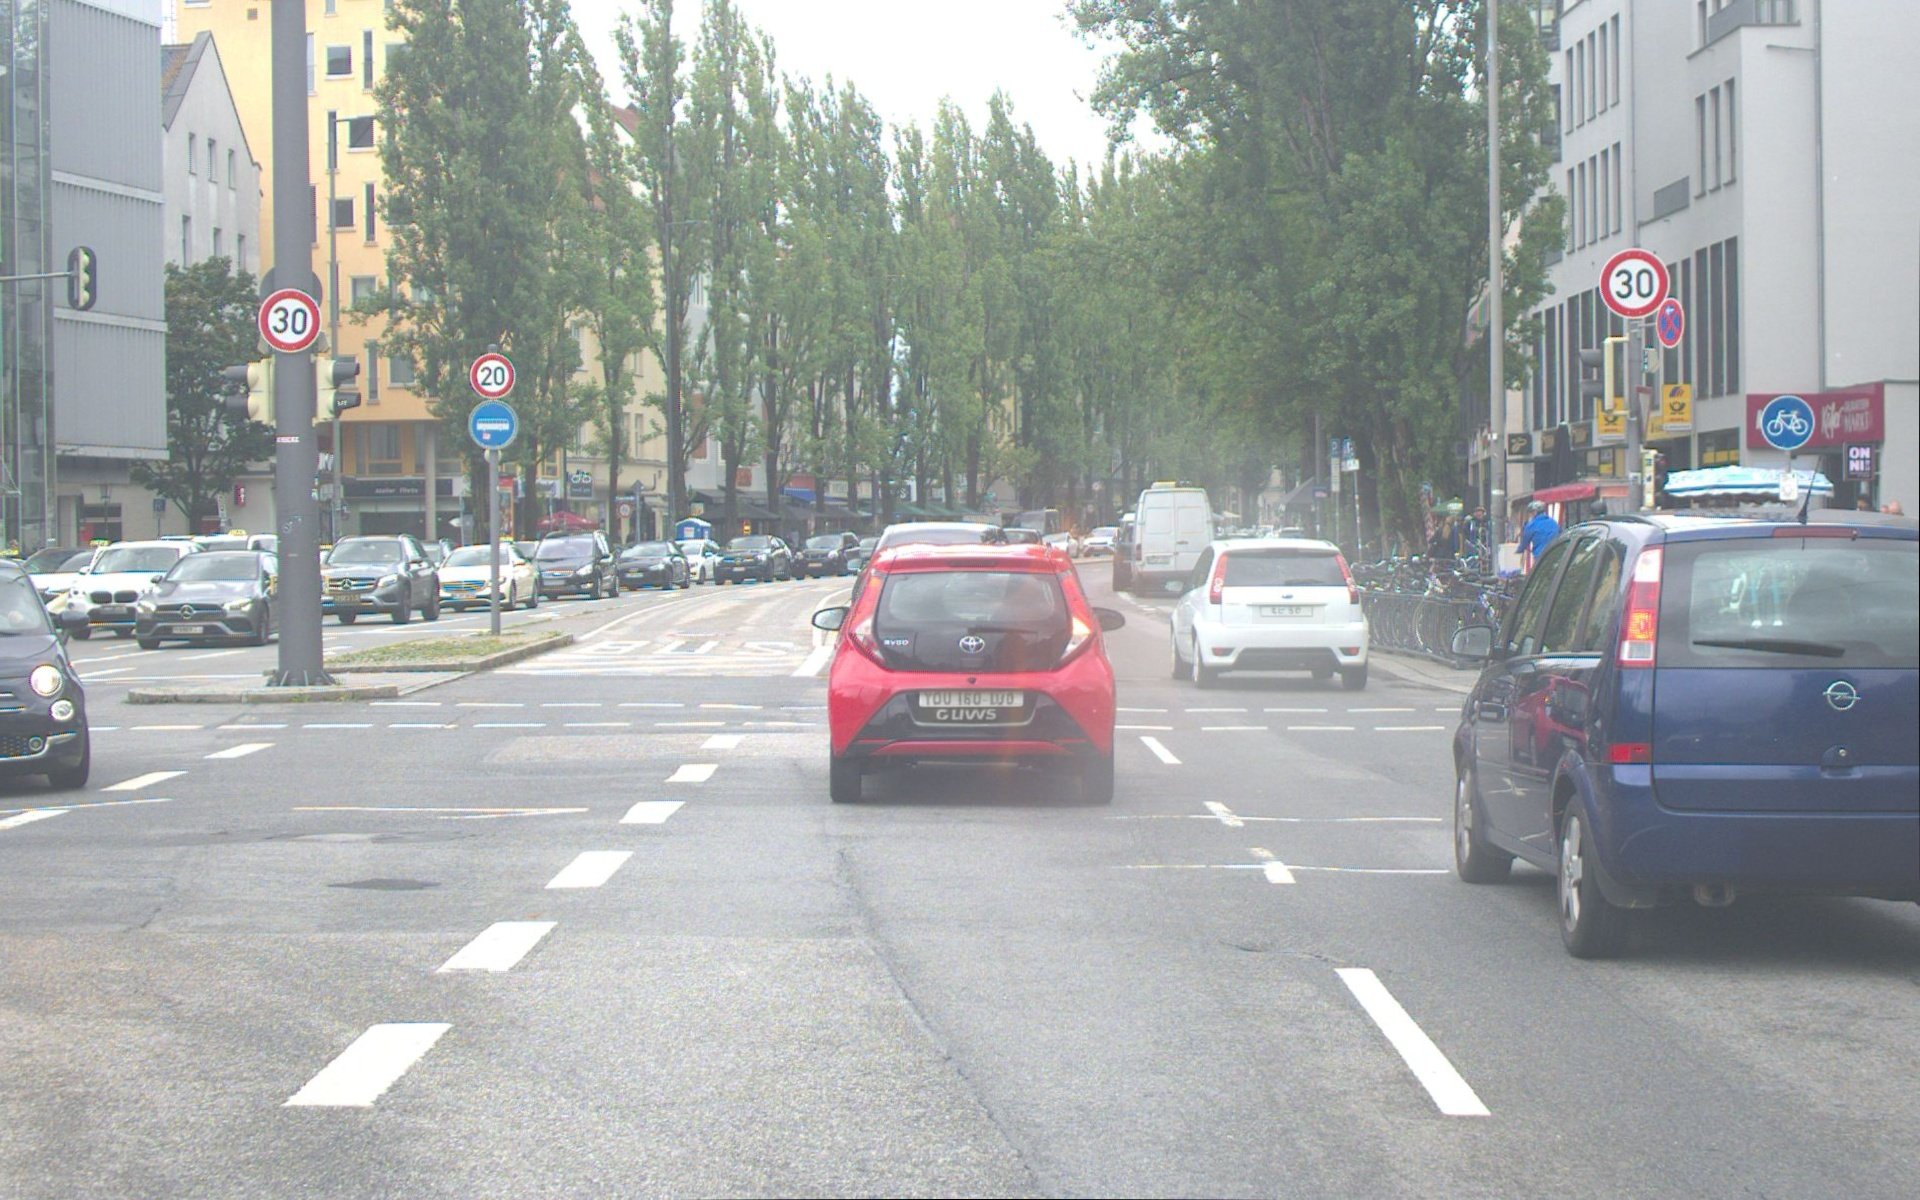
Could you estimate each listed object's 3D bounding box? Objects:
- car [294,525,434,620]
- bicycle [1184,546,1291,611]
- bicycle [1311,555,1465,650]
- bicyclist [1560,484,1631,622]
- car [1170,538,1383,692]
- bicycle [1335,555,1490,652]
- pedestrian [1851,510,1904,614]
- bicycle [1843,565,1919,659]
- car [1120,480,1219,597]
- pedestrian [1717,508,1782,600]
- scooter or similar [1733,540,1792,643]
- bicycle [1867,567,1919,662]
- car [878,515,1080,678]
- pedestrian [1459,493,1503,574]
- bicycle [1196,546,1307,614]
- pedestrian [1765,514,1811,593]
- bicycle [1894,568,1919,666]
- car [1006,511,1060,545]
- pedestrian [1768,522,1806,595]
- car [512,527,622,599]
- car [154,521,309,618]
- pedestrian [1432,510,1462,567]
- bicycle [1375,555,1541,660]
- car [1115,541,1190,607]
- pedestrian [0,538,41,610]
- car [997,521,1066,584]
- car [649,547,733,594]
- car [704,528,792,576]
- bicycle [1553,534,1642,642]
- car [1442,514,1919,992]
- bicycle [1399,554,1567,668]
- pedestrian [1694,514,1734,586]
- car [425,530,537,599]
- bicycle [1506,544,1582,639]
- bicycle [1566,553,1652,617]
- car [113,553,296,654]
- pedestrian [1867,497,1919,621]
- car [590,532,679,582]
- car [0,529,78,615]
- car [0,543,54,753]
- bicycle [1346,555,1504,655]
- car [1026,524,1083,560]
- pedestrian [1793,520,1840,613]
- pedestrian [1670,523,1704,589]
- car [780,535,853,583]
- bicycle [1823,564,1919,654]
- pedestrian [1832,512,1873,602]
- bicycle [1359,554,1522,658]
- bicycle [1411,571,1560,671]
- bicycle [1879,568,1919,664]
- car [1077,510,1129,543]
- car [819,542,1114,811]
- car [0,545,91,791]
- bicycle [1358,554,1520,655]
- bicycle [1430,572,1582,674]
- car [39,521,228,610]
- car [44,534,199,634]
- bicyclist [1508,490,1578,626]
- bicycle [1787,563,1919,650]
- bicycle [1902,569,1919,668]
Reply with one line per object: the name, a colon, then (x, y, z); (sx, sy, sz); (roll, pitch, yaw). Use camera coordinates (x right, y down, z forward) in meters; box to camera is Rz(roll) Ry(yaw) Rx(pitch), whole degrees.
car: (-11.004, -0.543, 63.744); (1.743, 1.664, 4.732); (-1, 1, 0)
bicycle: (4.925, -0.389, 61.093); (1.836, 1.132, 0.585); (0, 2, 36)
bicycle: (5.331, 0.020, 42.863); (1.803, 1.154, 0.651); (0, 2, 35)
bicyclist: (7.786, -0.580, 42.154); (0.614, 1.652, 1.251); (-1, 1, 0)
car: (3.064, 0.107, 33.870); (1.699, 1.421, 3.497); (-1, 1, -1)
bicycle: (5.452, 0.038, 41.486); (1.802, 1.154, 0.486); (0, 1, 30)
pedestrian: (14.826, -0.609, 55.554); (0.601, 1.664, 0.684); (0, 1, 35)
bicycle: (10.364, 0.116, 36.480); (1.837, 0.961, 0.509); (-1, 1, -2)
car: (5.006, -1.478, 82.742); (2.107, 2.709, 4.804); (-1, 1, 0)
pedestrian: (13.145, -0.767, 57.226); (0.810, 1.517, 0.799); (0, 1, 33)
scooter or similar: (9.345, -0.105, 40.041); (0.301, 1.172, 1.275); (0, 1, 30)
bicycle: (10.400, 0.133, 35.654); (1.837, 0.961, 0.509); (-1, 1, -2)
car: (0.157, -0.070, 36.369); (1.993, 1.612, 4.000); (-1, 1, -1)
pedestrian: (11.195, -1.424, 73.895); (0.790, 1.722, 0.764); (-1, 1, 0)
bicycle: (4.946, -0.335, 58.364); (1.836, 1.132, 0.585); (0, 2, 36)
pedestrian: (16.750, -0.945, 69.572); (0.732, 1.596, 0.742); (-1, 1, 0)
bicycle: (10.367, 0.154, 34.502); (1.837, 0.961, 0.509); (-1, 1, -2)
car: (3.850, -3.779, 179.835); (1.994, 1.686, 4.411); (-1, 1, 12)
pedestrian: (16.014, -0.798, 66.596); (0.574, 1.397, 0.580); (-1, 1, 0)
car: (-9.819, -0.934, 86.227); (1.936, 1.733, 4.588); (-1, 1, 4)
car: (-16.610, -0.737, 78.695); (1.994, 2.006, 5.523); (-1, 2, 4)
pedestrian: (13.278, -1.680, 93.772); (0.713, 1.553, 0.676); (-1, 1, 0)
bicycle: (5.590, 0.075, 38.678); (1.803, 1.154, 0.547); (0, 2, 38)
car: (4.967, -0.683, 89.055); (1.703, 1.657, 3.556); (0, 1, 0)
pedestrian: (-22.185, -0.618, 81.211); (0.651, 1.686, 0.711); (0, 1, 12)
car: (2.138, -1.420, 102.867); (1.993, 1.831, 4.000); (-1, 1, 1)
car: (-9.238, -1.015, 118.188); (1.994, 1.529, 4.464); (-1, 1, 7)
car: (-6.923, -1.582, 112.593); (1.994, 1.529, 4.586); (-1, 1, 8)
bicycle: (7.780, -0.163, 42.026); (0.614, 1.260, 2.520); (-1, 1, 0)
car: (2.965, 0.482, 13.217); (1.703, 1.584, 3.556); (0, 1, 0)
bicycle: (5.662, 0.109, 37.285); (1.803, 1.194, 0.558); (1, 2, 43)
pedestrian: (16.518, -1.094, 75.347); (0.713, 1.553, 0.676); (-1, 1, 0)
car: (-10.384, -0.790, 74.742); (1.765, 1.417, 4.639); (-1, 1, 0)
bicycle: (8.129, -0.140, 47.931); (0.614, 1.260, 2.520); (-1, 1, 0)
bicycle: (10.076, -0.231, 53.384); (1.261, 0.960, 0.369); (-1, 1, 3)
car: (-11.240, 0.021, 51.386); (1.993, 1.407, 4.168); (0, 1, -3)
pedestrian: (13.438, -0.592, 48.907); (0.813, 1.721, 0.758); (-2, 1, 0)
car: (-9.282, -1.243, 98.401); (1.845, 1.378, 4.600); (0, 1, 4)
car: (-17.708, -0.499, 61.623); (1.994, 1.503, 4.633); (-1, 1, 9)
car: (-7.878, 0.340, 26.370); (1.503, 1.529, 2.838); (-1, 1, -9)
bicycle: (5.517, 0.054, 40.831); (1.802, 1.154, 0.486); (0, 1, 29)
car: (4.676, -2.878, 169.022); (1.994, 1.686, 4.411); (-1, 1, 12)
pedestrian: (13.998, -0.550, 56.207); (0.580, 1.500, 0.615); (0, 1, 31)
pedestrian: (15.393, -0.932, 72.791); (0.598, 1.397, 0.580); (-1, 1, 0)
car: (-5.182, -1.491, 124.610); (1.994, 1.686, 4.920); (-1, 1, 5)
bicycle: (10.368, 0.089, 37.557); (1.754, 0.961, 0.453); (-1, 1, -2)
pedestrian: (14.698, -0.706, 56.625); (0.507, 1.479, 0.464); (0, 1, 35)
bicycle: (5.494, 0.059, 39.360); (1.803, 1.154, 0.547); (0, 2, 38)
bicycle: (5.588, 0.210, 36.626); (0.498, 1.025, 1.601); (-2, 2, -43)
bicycle: (10.378, 0.143, 35.095); (1.837, 0.961, 0.509); (-1, 1, -2)
car: (7.581, -3.875, 181.918); (1.994, 1.686, 4.411); (-1, 1, 12)
car: (0.046, 0.393, 20.314); (1.605, 1.456, 3.130); (0, 1, 0)
car: (-6.656, 0.410, 21.974); (1.545, 1.440, 3.540); (-3, 2, -23)
bicycle: (5.591, 0.046, 40.170); (1.801, 1.154, 0.486); (0, 1, 26)
bicycle: (5.672, 0.231, 35.771); (0.498, 1.025, 1.601); (-2, 2, -43)
car: (-16.272, -0.699, 67.890); (1.994, 1.673, 4.181); (0, 1, 12)
car: (-13.947, -0.294, 57.383); (1.698, 1.590, 4.000); (-1, 1, -2)
bicyclist: (8.121, -0.595, 47.910); (0.762, 1.863, 1.133); (-1, 1, 0)
bicycle: (10.385, 0.069, 39.284); (1.754, 0.961, 0.453); (-1, 1, 1)
bicycle: (10.304, 0.163, 33.969); (1.837, 0.961, 0.509); (-1, 1, -2)
